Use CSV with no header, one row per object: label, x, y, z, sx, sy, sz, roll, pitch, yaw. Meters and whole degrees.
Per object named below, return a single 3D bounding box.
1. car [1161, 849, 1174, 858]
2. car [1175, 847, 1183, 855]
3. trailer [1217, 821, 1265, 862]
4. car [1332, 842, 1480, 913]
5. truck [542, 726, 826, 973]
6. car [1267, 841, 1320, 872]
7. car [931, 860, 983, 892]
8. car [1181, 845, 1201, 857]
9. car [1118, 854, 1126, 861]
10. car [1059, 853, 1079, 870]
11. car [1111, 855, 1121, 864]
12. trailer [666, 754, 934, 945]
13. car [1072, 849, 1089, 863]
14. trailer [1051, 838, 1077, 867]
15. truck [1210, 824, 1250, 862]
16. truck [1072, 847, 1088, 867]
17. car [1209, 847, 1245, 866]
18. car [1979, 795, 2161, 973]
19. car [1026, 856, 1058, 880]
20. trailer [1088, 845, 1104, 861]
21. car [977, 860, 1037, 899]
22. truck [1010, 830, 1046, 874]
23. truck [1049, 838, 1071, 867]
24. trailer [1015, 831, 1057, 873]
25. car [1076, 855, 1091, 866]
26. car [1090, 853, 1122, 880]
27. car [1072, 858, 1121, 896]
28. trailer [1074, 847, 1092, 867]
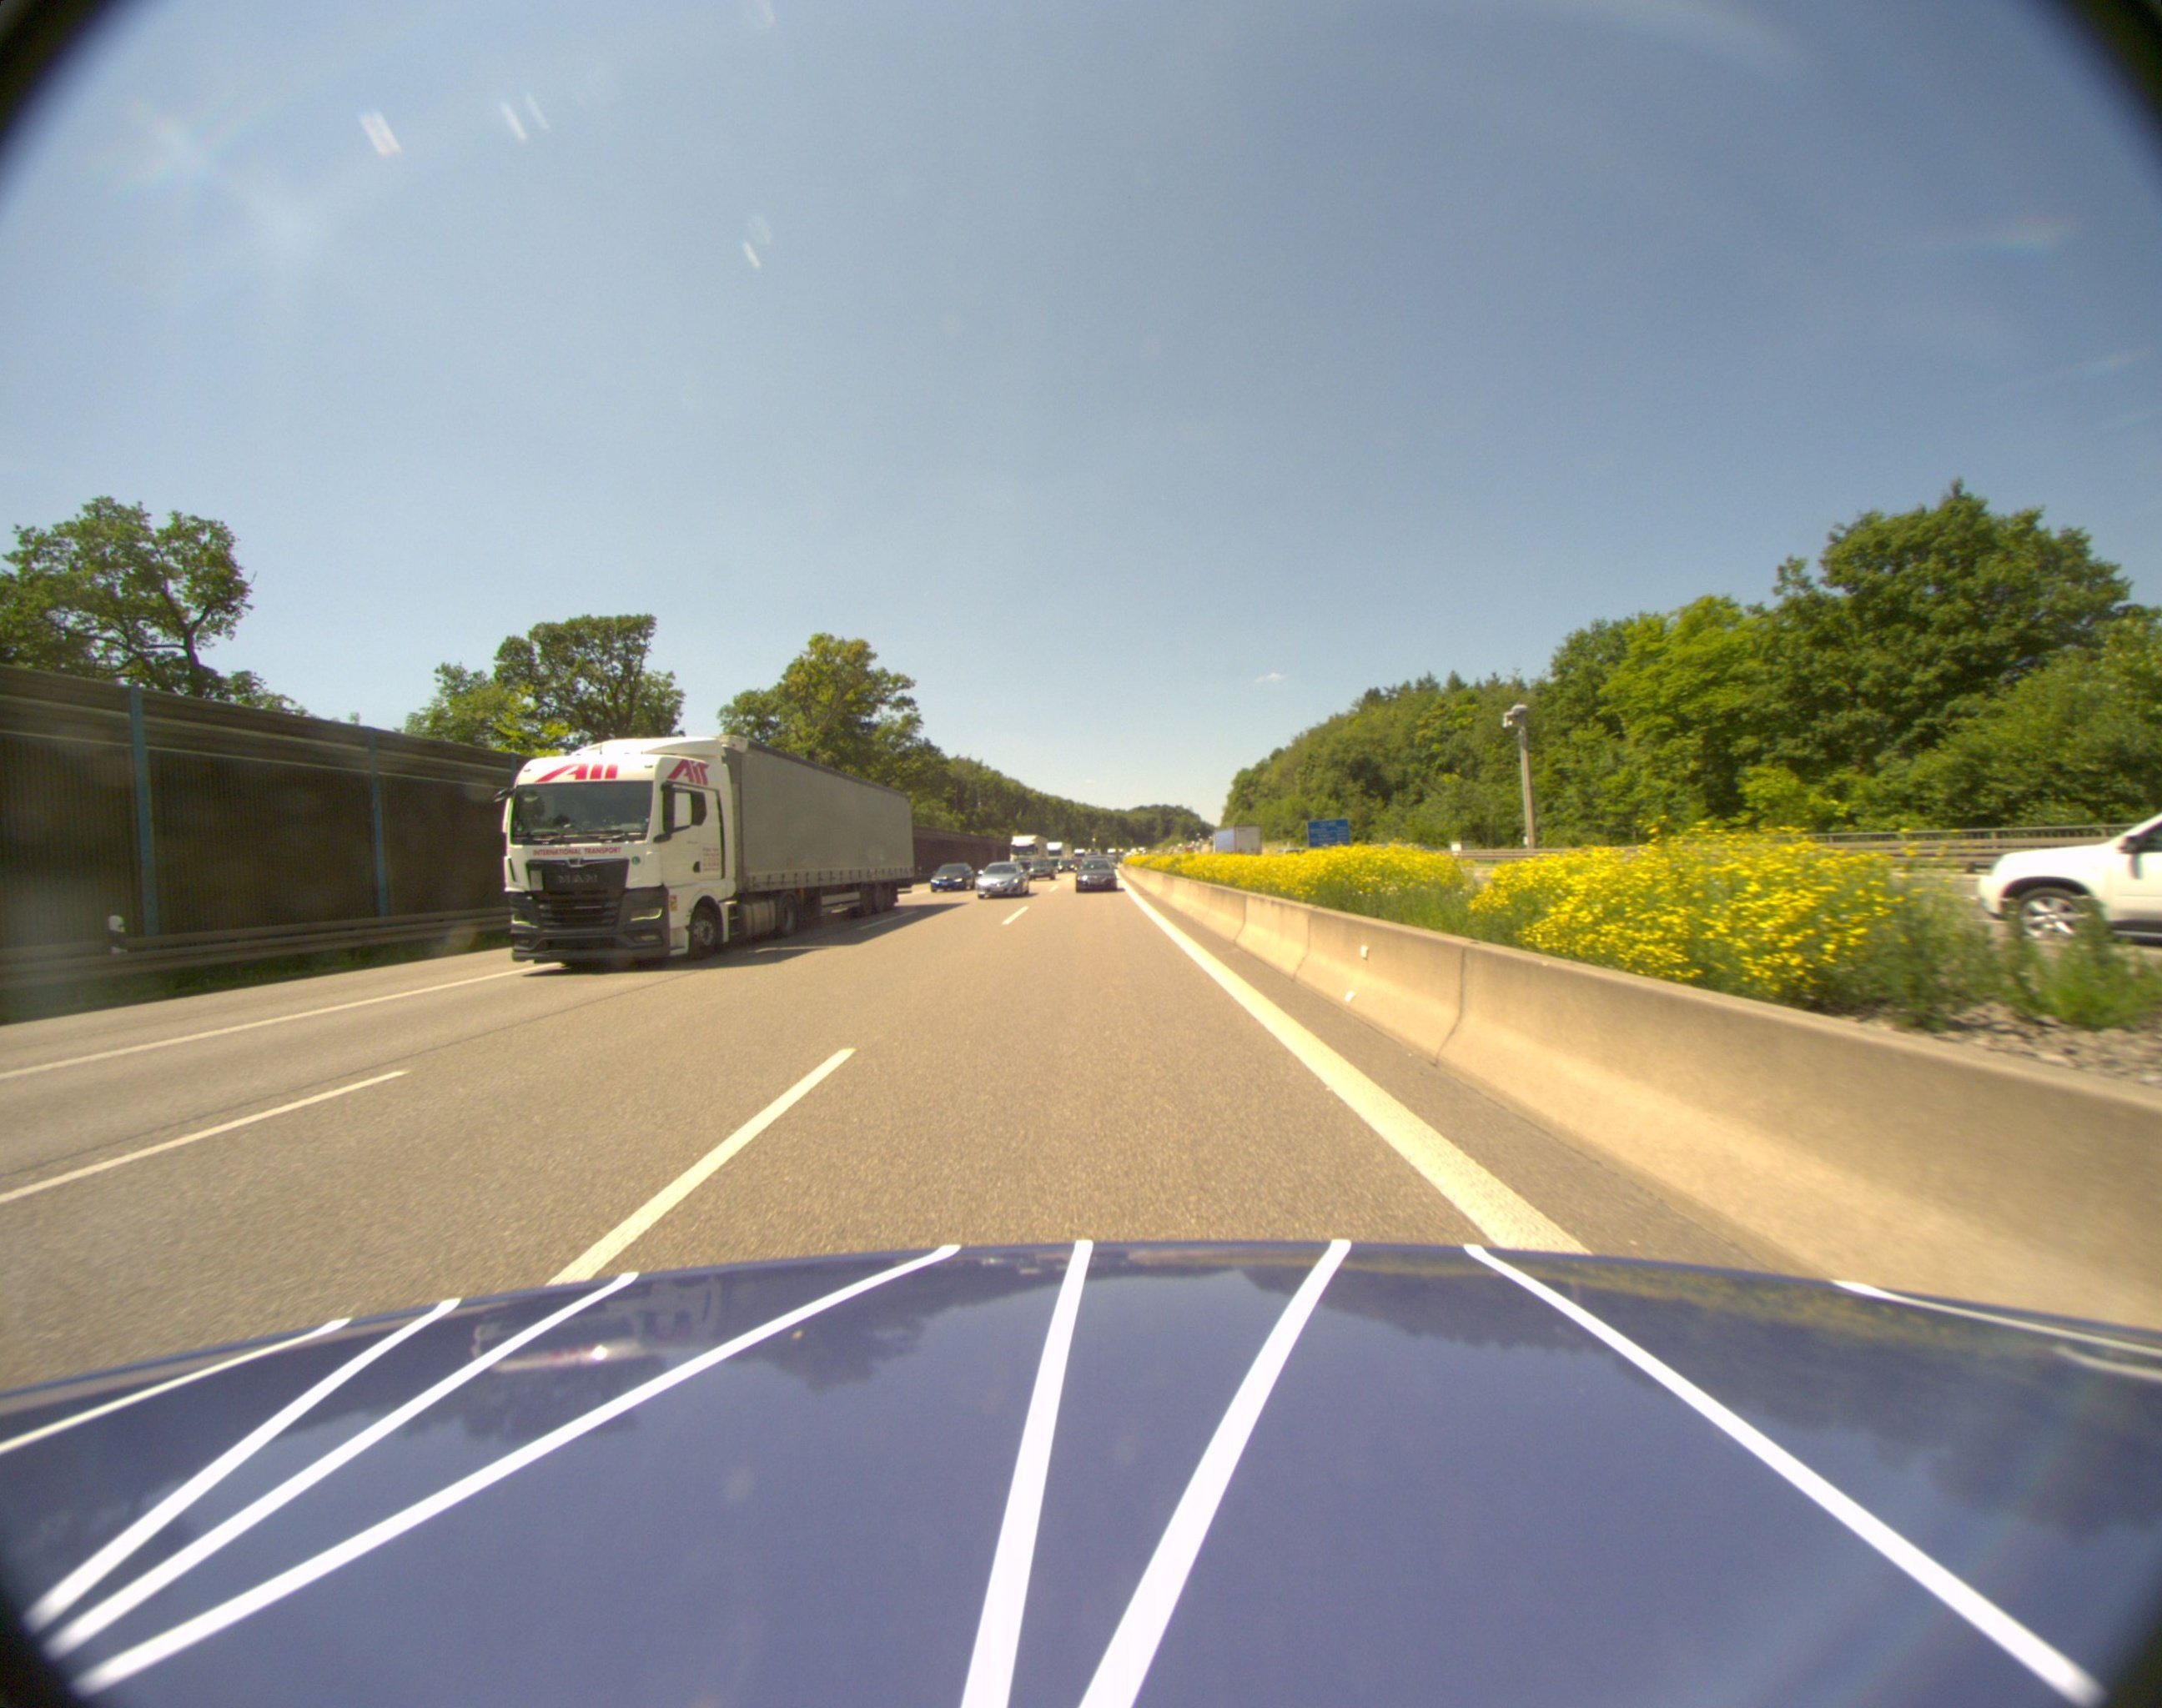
car,15.596,-0.153,137.275,1.809,1.480,4.000,-3,0,1
car,34.390,-1.109,265.854,2.161,2.608,5.976,-2,0,3
trailer,16.346,-1.180,78.446,2.788,3.834,10.170,-3,0,1
car,7.534,0.492,18.060,1.810,1.411,4.077,-3,0,1
truck,-7.617,-0.093,15.562,2.604,4.067,5.552,-2,1,1
car,11.537,0.114,41.486,1.790,1.535,4.156,-3,0,1
car,-6.592,1.135,40.790,1.860,1.484,4.177,-3,0,2
car,14.816,-0.387,102.487,1.998,1.552,4.639,-3,0,1
car,10.389,0.775,191.563,1.998,1.641,4.001,-3,0,3
car,-1.255,0.803,82.938,1.998,1.641,4.000,-3,0,0
car,7.353,1.105,160.141,1.998,1.641,4.001,-3,0,3
trailer,-7.412,-0.150,23.294,2.604,4.067,13.591,-2,1,2
car,-0.025,0.240,100.785,1.998,1.641,4.001,-3,0,3
trailer,-2.582,-0.269,117.893,2.541,4.149,10.181,-3,0,7
truck,16.429,-1.177,84.234,2.755,3.834,8.413,-3,0,1
truck,-0.111,0.618,168.316,2.853,4.382,5.241,-3,0,5
car,12.392,0.210,64.812,2.142,1.521,4.799,-3,0,1
car,11.227,0.247,6.400,1.998,1.691,4.530,-3,0,1
car,-2.784,0.980,54.925,1.907,1.550,4.000,-3,0,1
trailer,4.010,-0.371,201.229,3.154,4.061,6.185,-3,0,8
car,-3.025,1.019,31.759,1.860,1.426,4.177,-3,0,2
truck,-5.430,-0.208,78.617,2.811,4.190,5.423,-3,0,4
truck,-3.098,-0.179,113.248,2.544,4.149,4.747,-3,0,6
trailer,-4.879,-0.226,85.557,2.821,4.190,13.468,-3,0,4
car,0.435,0.970,120.405,1.998,1.641,4.001,-3,0,3
car,1.713,0.778,50.803,1.998,1.641,4.000,-2,1,2
car,0.651,0.928,32.324,1.907,1.410,4.000,-3,0,1
trailer,0.522,0.592,175.856,2.853,4.391,13.031,-3,0,5
